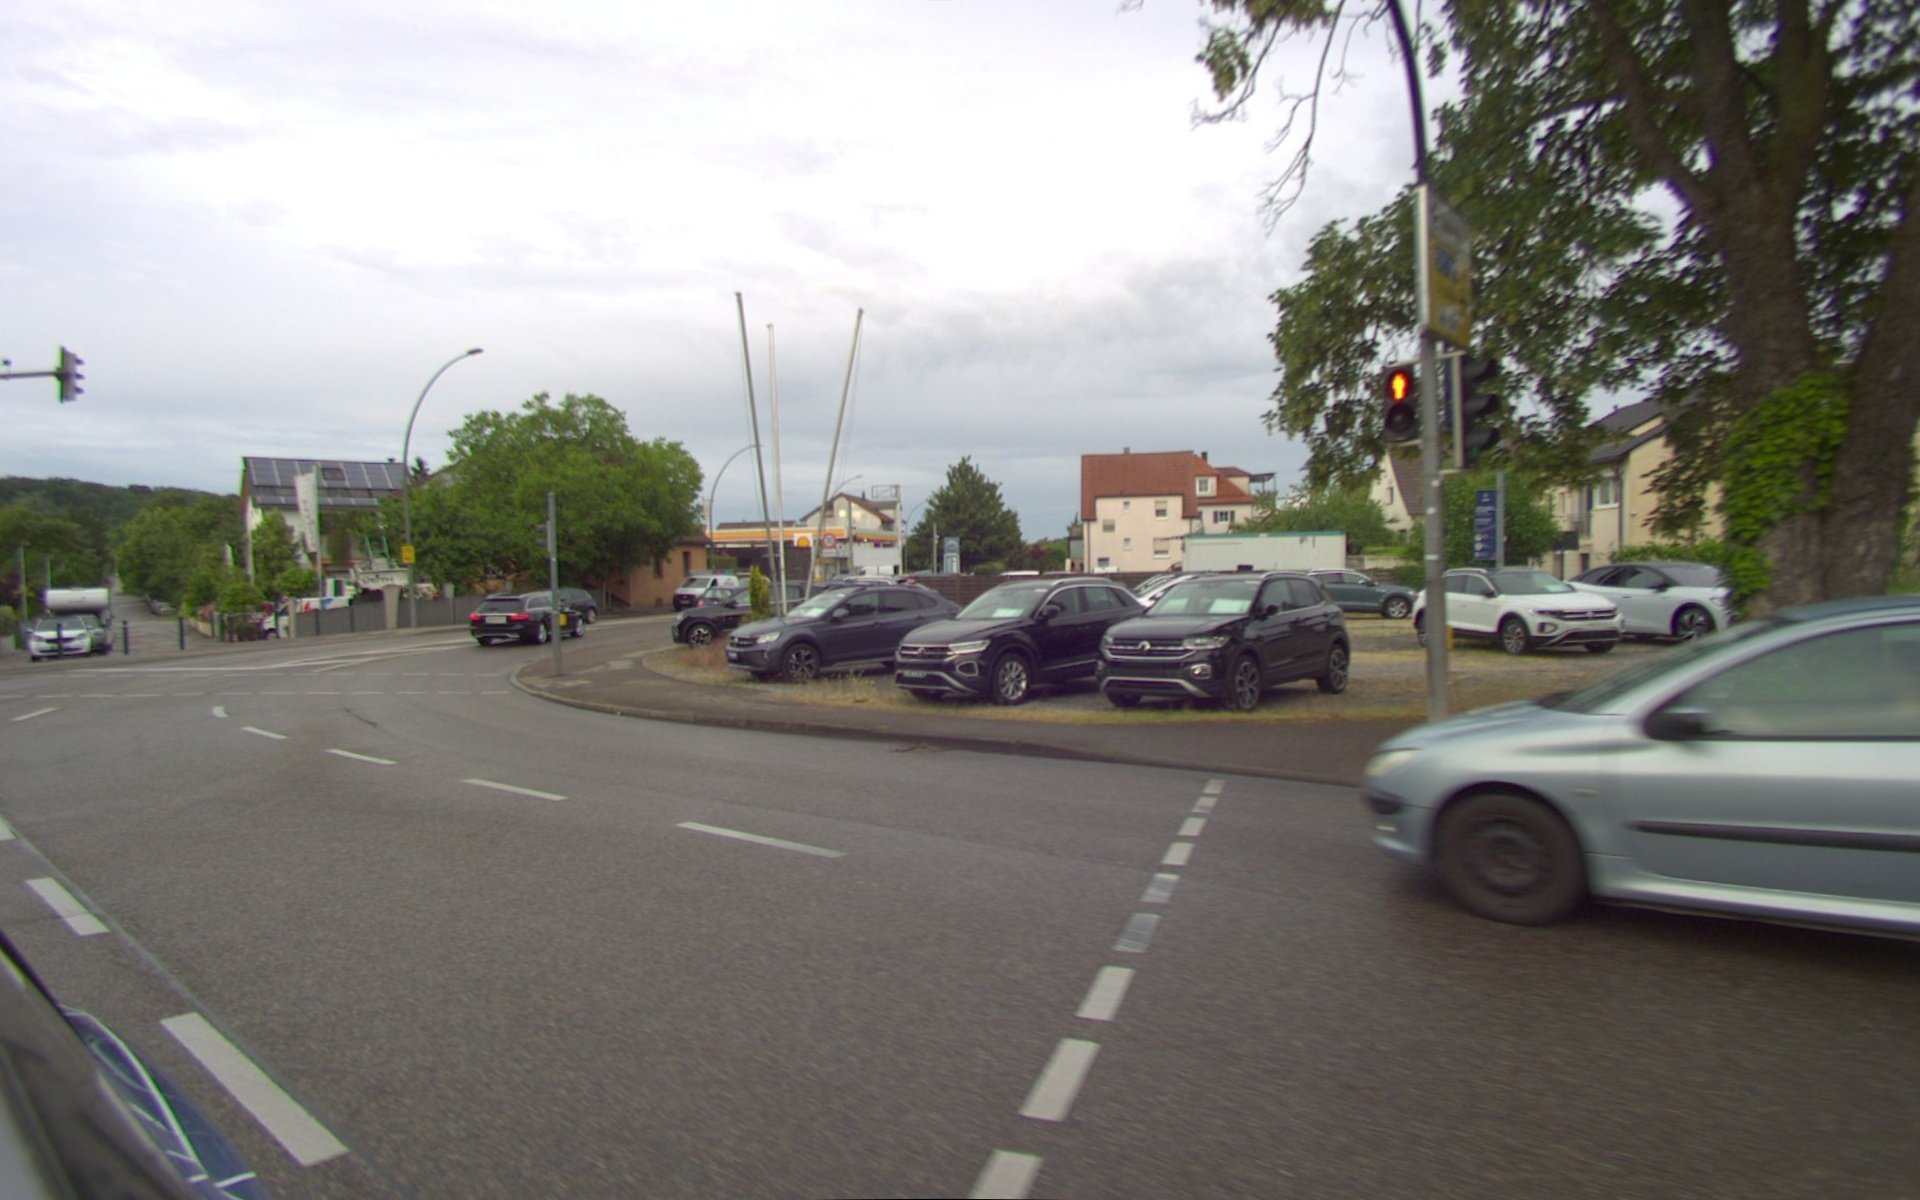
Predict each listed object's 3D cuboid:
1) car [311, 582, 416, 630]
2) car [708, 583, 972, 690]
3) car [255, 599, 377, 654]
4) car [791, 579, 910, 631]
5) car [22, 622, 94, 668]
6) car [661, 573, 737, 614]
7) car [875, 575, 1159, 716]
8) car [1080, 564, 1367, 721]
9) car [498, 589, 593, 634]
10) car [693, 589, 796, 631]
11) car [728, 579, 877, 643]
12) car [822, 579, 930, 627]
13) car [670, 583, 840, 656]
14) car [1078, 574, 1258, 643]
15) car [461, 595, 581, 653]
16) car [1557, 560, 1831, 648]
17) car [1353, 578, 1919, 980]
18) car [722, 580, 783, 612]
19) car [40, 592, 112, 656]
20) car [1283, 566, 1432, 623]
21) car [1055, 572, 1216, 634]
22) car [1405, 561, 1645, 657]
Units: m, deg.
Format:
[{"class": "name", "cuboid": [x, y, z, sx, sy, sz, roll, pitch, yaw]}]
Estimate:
[{"class": "car", "cuboid": [-28.276, 0.268, 48.054, 4.176, 2.120, 1.765, 1, 2, 10]}, {"class": "car", "cuboid": [-1.977, 0.532, 17.161, 4.091, 1.521, 1.677, -2, 2, -33]}, {"class": "car", "cuboid": [-27.124, 1.090, 42.654, 4.338, 2.120, 1.764, 1, 2, 11]}, {"class": "car", "cuboid": [-3.553, 0.147, 33.328, 3.722, 1.562, 1.593, -2, 1, 1]}, {"class": "car", "cuboid": [-32.800, 1.593, 36.773, 1.745, 1.479, 4.002, -2, 0, -45]}, {"class": "car", "cuboid": [-14.237, -0.335, 55.589, 2.031, 2.102, 5.239, -2, 0, 10]}, {"class": "car", "cuboid": [0.864, 0.506, 13.584, 3.713, 1.579, 1.674, -2, 0, -43]}, {"class": "car", "cuboid": [3.306, 0.402, 12.265, 1.673, 1.579, 3.841, -2, 0, 44]}, {"class": "car", "cuboid": [-15.061, 0.372, 37.017, 1.747, 1.438, 3.998, 1, 2, 2]}, {"class": "car", "cuboid": [-7.981, 0.357, 37.579, 3.514, 1.438, 1.462, 1, 2, 1]}, {"class": "car", "cuboid": [-4.208, 0.284, 27.407, 3.722, 1.562, 1.593, -2, 1, 1]}, {"class": "car", "cuboid": [-2.986, 0.086, 36.558, 3.722, 1.562, 1.593, -2, 1, 1]}, {"class": "car", "cuboid": [-4.833, 0.440, 24.187, 3.720, 1.562, 1.594, -2, 1, -2]}, {"class": "car", "cuboid": [4.885, 0.198, 24.150, 3.998, 1.463, 1.785, -2, 1, 10]}, {"class": "car", "cuboid": [-12.623, 0.637, 29.357, 1.746, 1.438, 4.000, 1, 2, 0]}, {"class": "car", "cuboid": [13.681, 0.061, 19.198, 1.800, 1.425, 4.019, -2, 0, -11]}, {"class": "car", "cuboid": [3.781, 0.612, 4.170, 3.698, 1.391, 1.629, -2, -1, 39]}, {"class": "car", "cuboid": [-12.729, -0.241, 62.418, 2.031, 1.877, 4.907, -2, 0, 10]}, {"class": "car", "cuboid": [-43.865, 1.099, 50.221, 2.537, 2.794, 6.137, -1, 2, -42]}, {"class": "car", "cuboid": [12.149, -0.167, 31.181, 4.004, 1.566, 1.783, -2, 1, 14]}, {"class": "car", "cuboid": [4.603, 0.076, 26.804, 3.998, 1.463, 1.785, -2, 1, 10]}, {"class": "car", "cuboid": [10.289, 0.123, 18.833, 1.762, 1.521, 4.051, -2, 1, -8]}]
